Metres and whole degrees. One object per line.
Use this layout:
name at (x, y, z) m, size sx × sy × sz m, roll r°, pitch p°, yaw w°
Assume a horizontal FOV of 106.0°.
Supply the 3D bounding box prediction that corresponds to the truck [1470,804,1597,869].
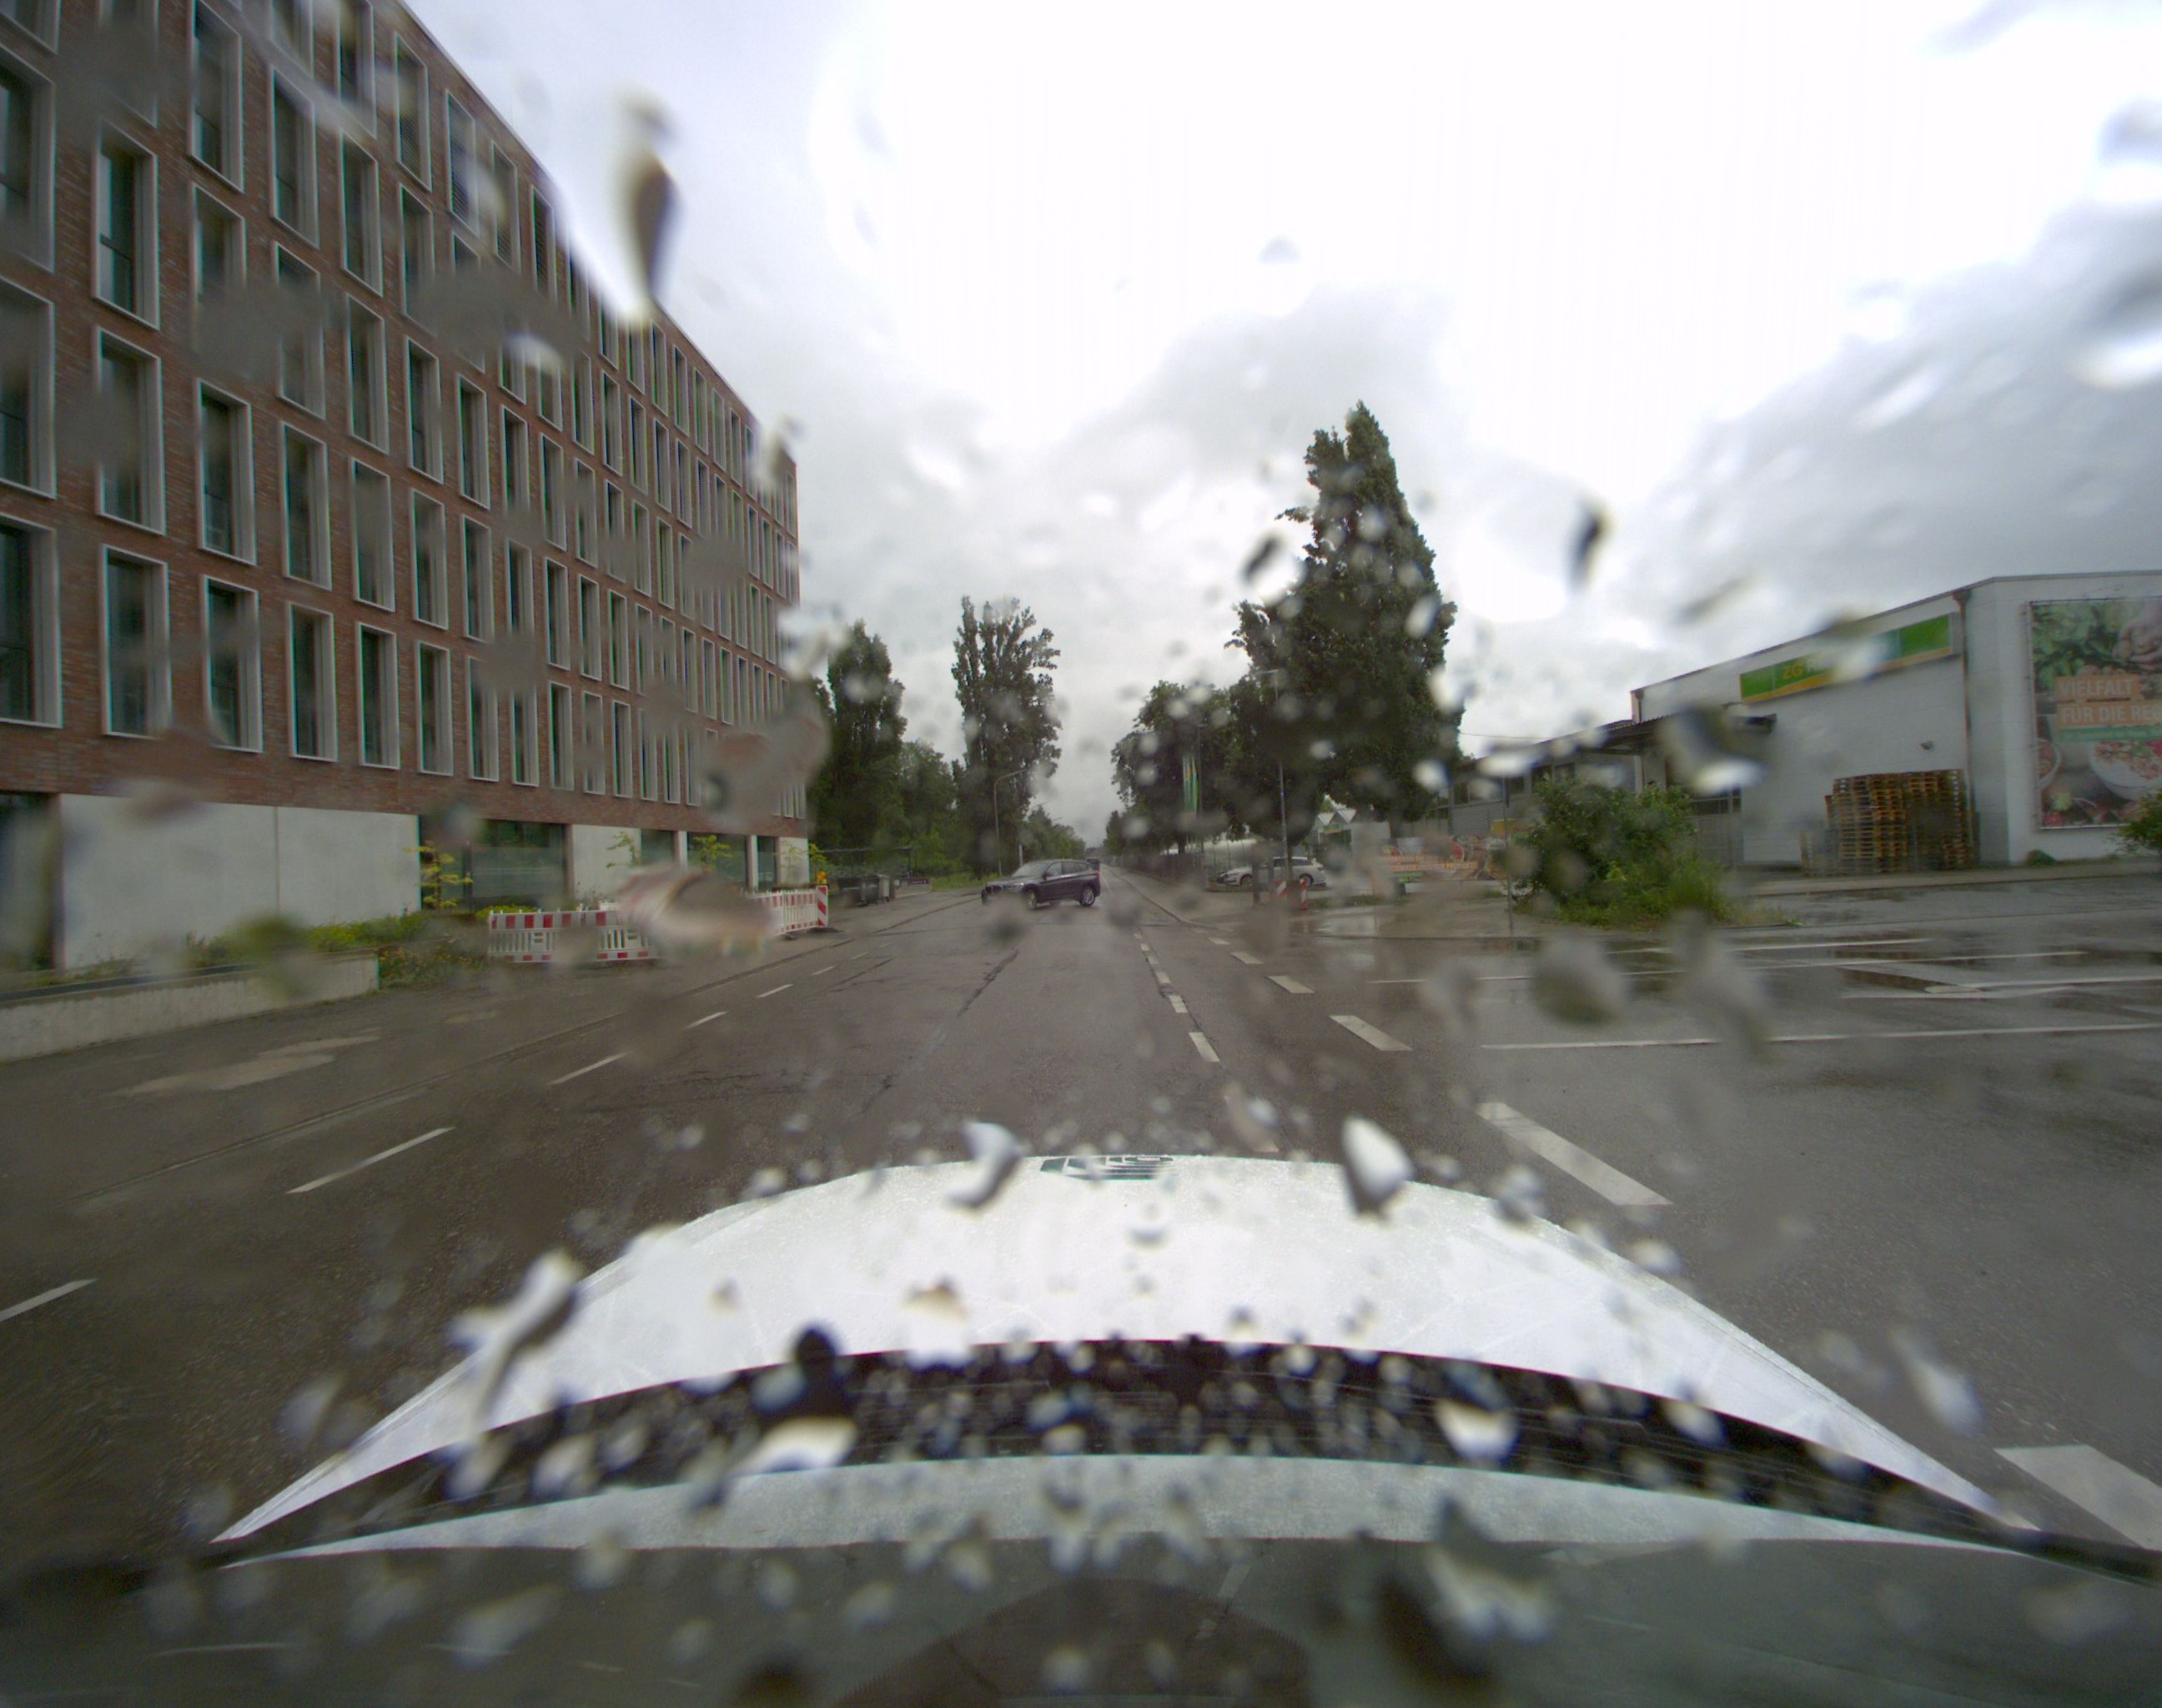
truck at (21.326, -0.690, 38.922) m, size 2.291 × 2.659 × 7.424 m, roll -3°, pitch -1°, yaw 4°

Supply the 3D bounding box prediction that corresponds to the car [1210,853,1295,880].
car at (8.604, 0.644, 41.023) m, size 3.926 × 1.256 × 1.618 m, roll -1°, pitch -2°, yaw -1°

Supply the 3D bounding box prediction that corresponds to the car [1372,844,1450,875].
car at (22.262, 0.376, 55.053) m, size 4.345 × 1.833 × 2.064 m, roll -2°, pitch -1°, yaw 2°

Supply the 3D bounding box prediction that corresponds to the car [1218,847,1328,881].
car at (8.971, 0.491, 38.345) m, size 4.689 × 1.463 × 1.890 m, roll -1°, pitch -1°, yaw -1°

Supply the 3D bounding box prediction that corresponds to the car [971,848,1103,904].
car at (-1.383, 0.692, 26.832) m, size 1.743 × 1.569 × 4.174 m, roll -4°, pitch -1°, yaw 44°

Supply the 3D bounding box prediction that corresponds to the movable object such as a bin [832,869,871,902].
movable object such as a bin at (-9.650, 1.327, 34.254) m, size 1.294 × 1.308 × 1.446 m, roll -2°, pitch -1°, yaw -5°

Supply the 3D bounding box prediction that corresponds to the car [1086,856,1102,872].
car at (1.636, 1.281, 106.133) m, size 1.987 × 1.910 × 4.200 m, roll -2°, pitch -2°, yaw 0°

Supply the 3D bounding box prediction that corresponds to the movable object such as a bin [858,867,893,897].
movable object such as a bin at (-9.720, 1.314, 38.588) m, size 1.291 × 1.332 × 1.358 m, roll -2°, pitch -1°, yaw -1°

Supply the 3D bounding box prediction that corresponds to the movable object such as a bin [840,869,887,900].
movable object such as a bin at (-9.652, 1.330, 36.127) m, size 1.362 × 1.308 × 1.456 m, roll -2°, pitch -1°, yaw 22°
